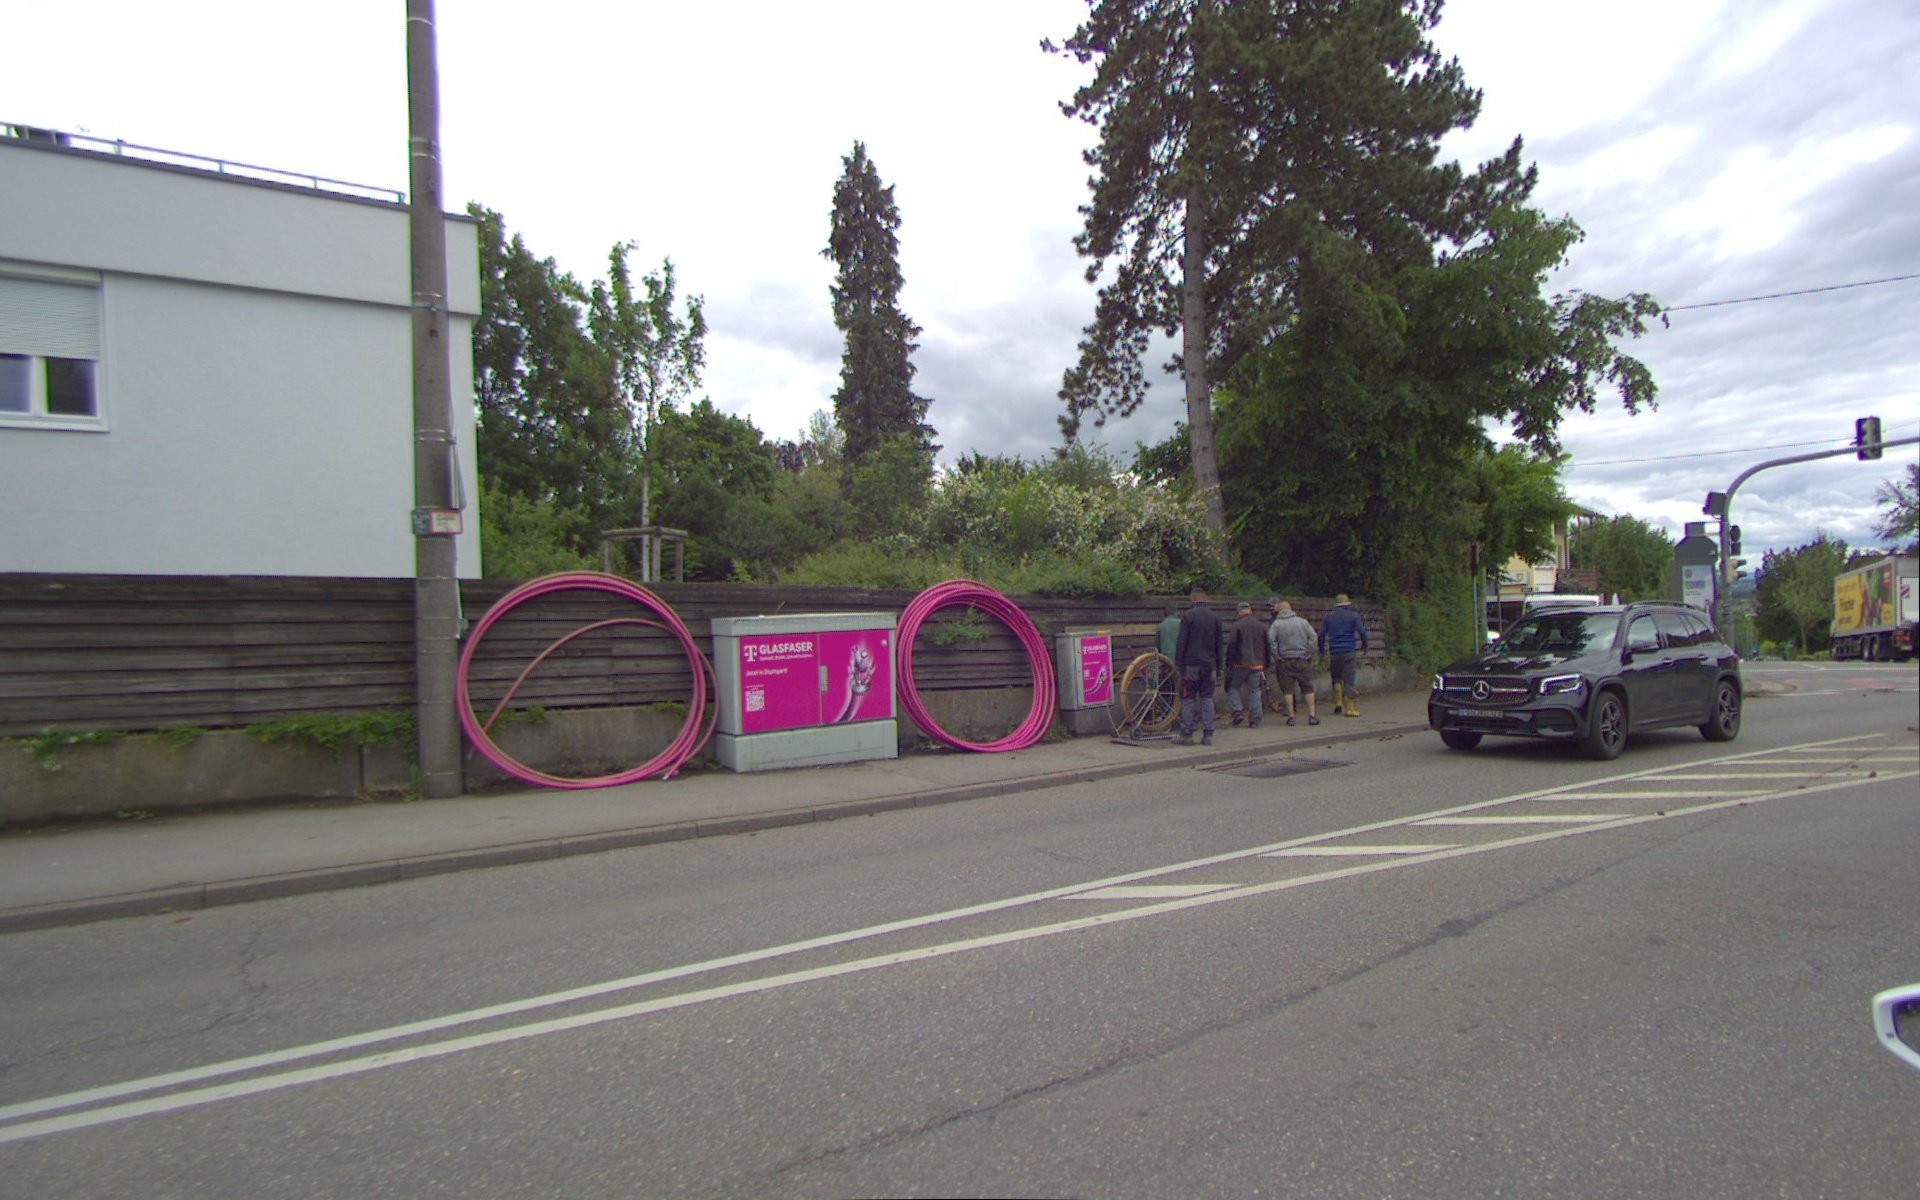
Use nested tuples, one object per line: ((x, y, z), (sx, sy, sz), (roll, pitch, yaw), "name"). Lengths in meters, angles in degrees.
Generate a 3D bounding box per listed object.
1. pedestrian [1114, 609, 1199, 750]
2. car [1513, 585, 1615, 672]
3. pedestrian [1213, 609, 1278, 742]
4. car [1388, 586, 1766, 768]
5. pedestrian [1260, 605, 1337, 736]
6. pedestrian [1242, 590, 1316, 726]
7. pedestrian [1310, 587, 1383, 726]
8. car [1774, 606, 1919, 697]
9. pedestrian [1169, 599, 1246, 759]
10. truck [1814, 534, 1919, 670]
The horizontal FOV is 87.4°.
((2.619, 1.032, 13.375), (0.804, 1.787, 0.865), (-2, -2, 33), "pedestrian")
((17.709, 0.814, 29.479), (2.248, 2.257, 6.457), (-2, -2, 31), "car")
((3.900, 1.023, 13.772), (0.737, 1.757, 0.696), (-2, -1, 10), "pedestrian")
((7.457, 0.828, 12.057), (4.469, 1.821, 1.984), (0, -4, -31), "car")
((4.757, 0.973, 14.118), (0.857, 1.777, 0.692), (-2, -1, 32), "pedestrian")
((4.945, 0.879, 15.586), (0.803, 2.040, 0.701), (-1, -1, -31), "pedestrian")
((5.915, 0.836, 15.377), (0.699, 2.040, 1.018), (-2, -1, 41), "pedestrian")
((17.804, 0.892, 18.302), (4.132, 1.585, 2.001), (-1, -2, 10), "car")
((2.986, 0.935, 12.111), (0.739, 1.861, 0.614), (-2, -2, 27), "pedestrian")
((37.444, 0.081, 40.135), (3.081, 4.797, 11.767), (-2, -2, 31), "truck")
